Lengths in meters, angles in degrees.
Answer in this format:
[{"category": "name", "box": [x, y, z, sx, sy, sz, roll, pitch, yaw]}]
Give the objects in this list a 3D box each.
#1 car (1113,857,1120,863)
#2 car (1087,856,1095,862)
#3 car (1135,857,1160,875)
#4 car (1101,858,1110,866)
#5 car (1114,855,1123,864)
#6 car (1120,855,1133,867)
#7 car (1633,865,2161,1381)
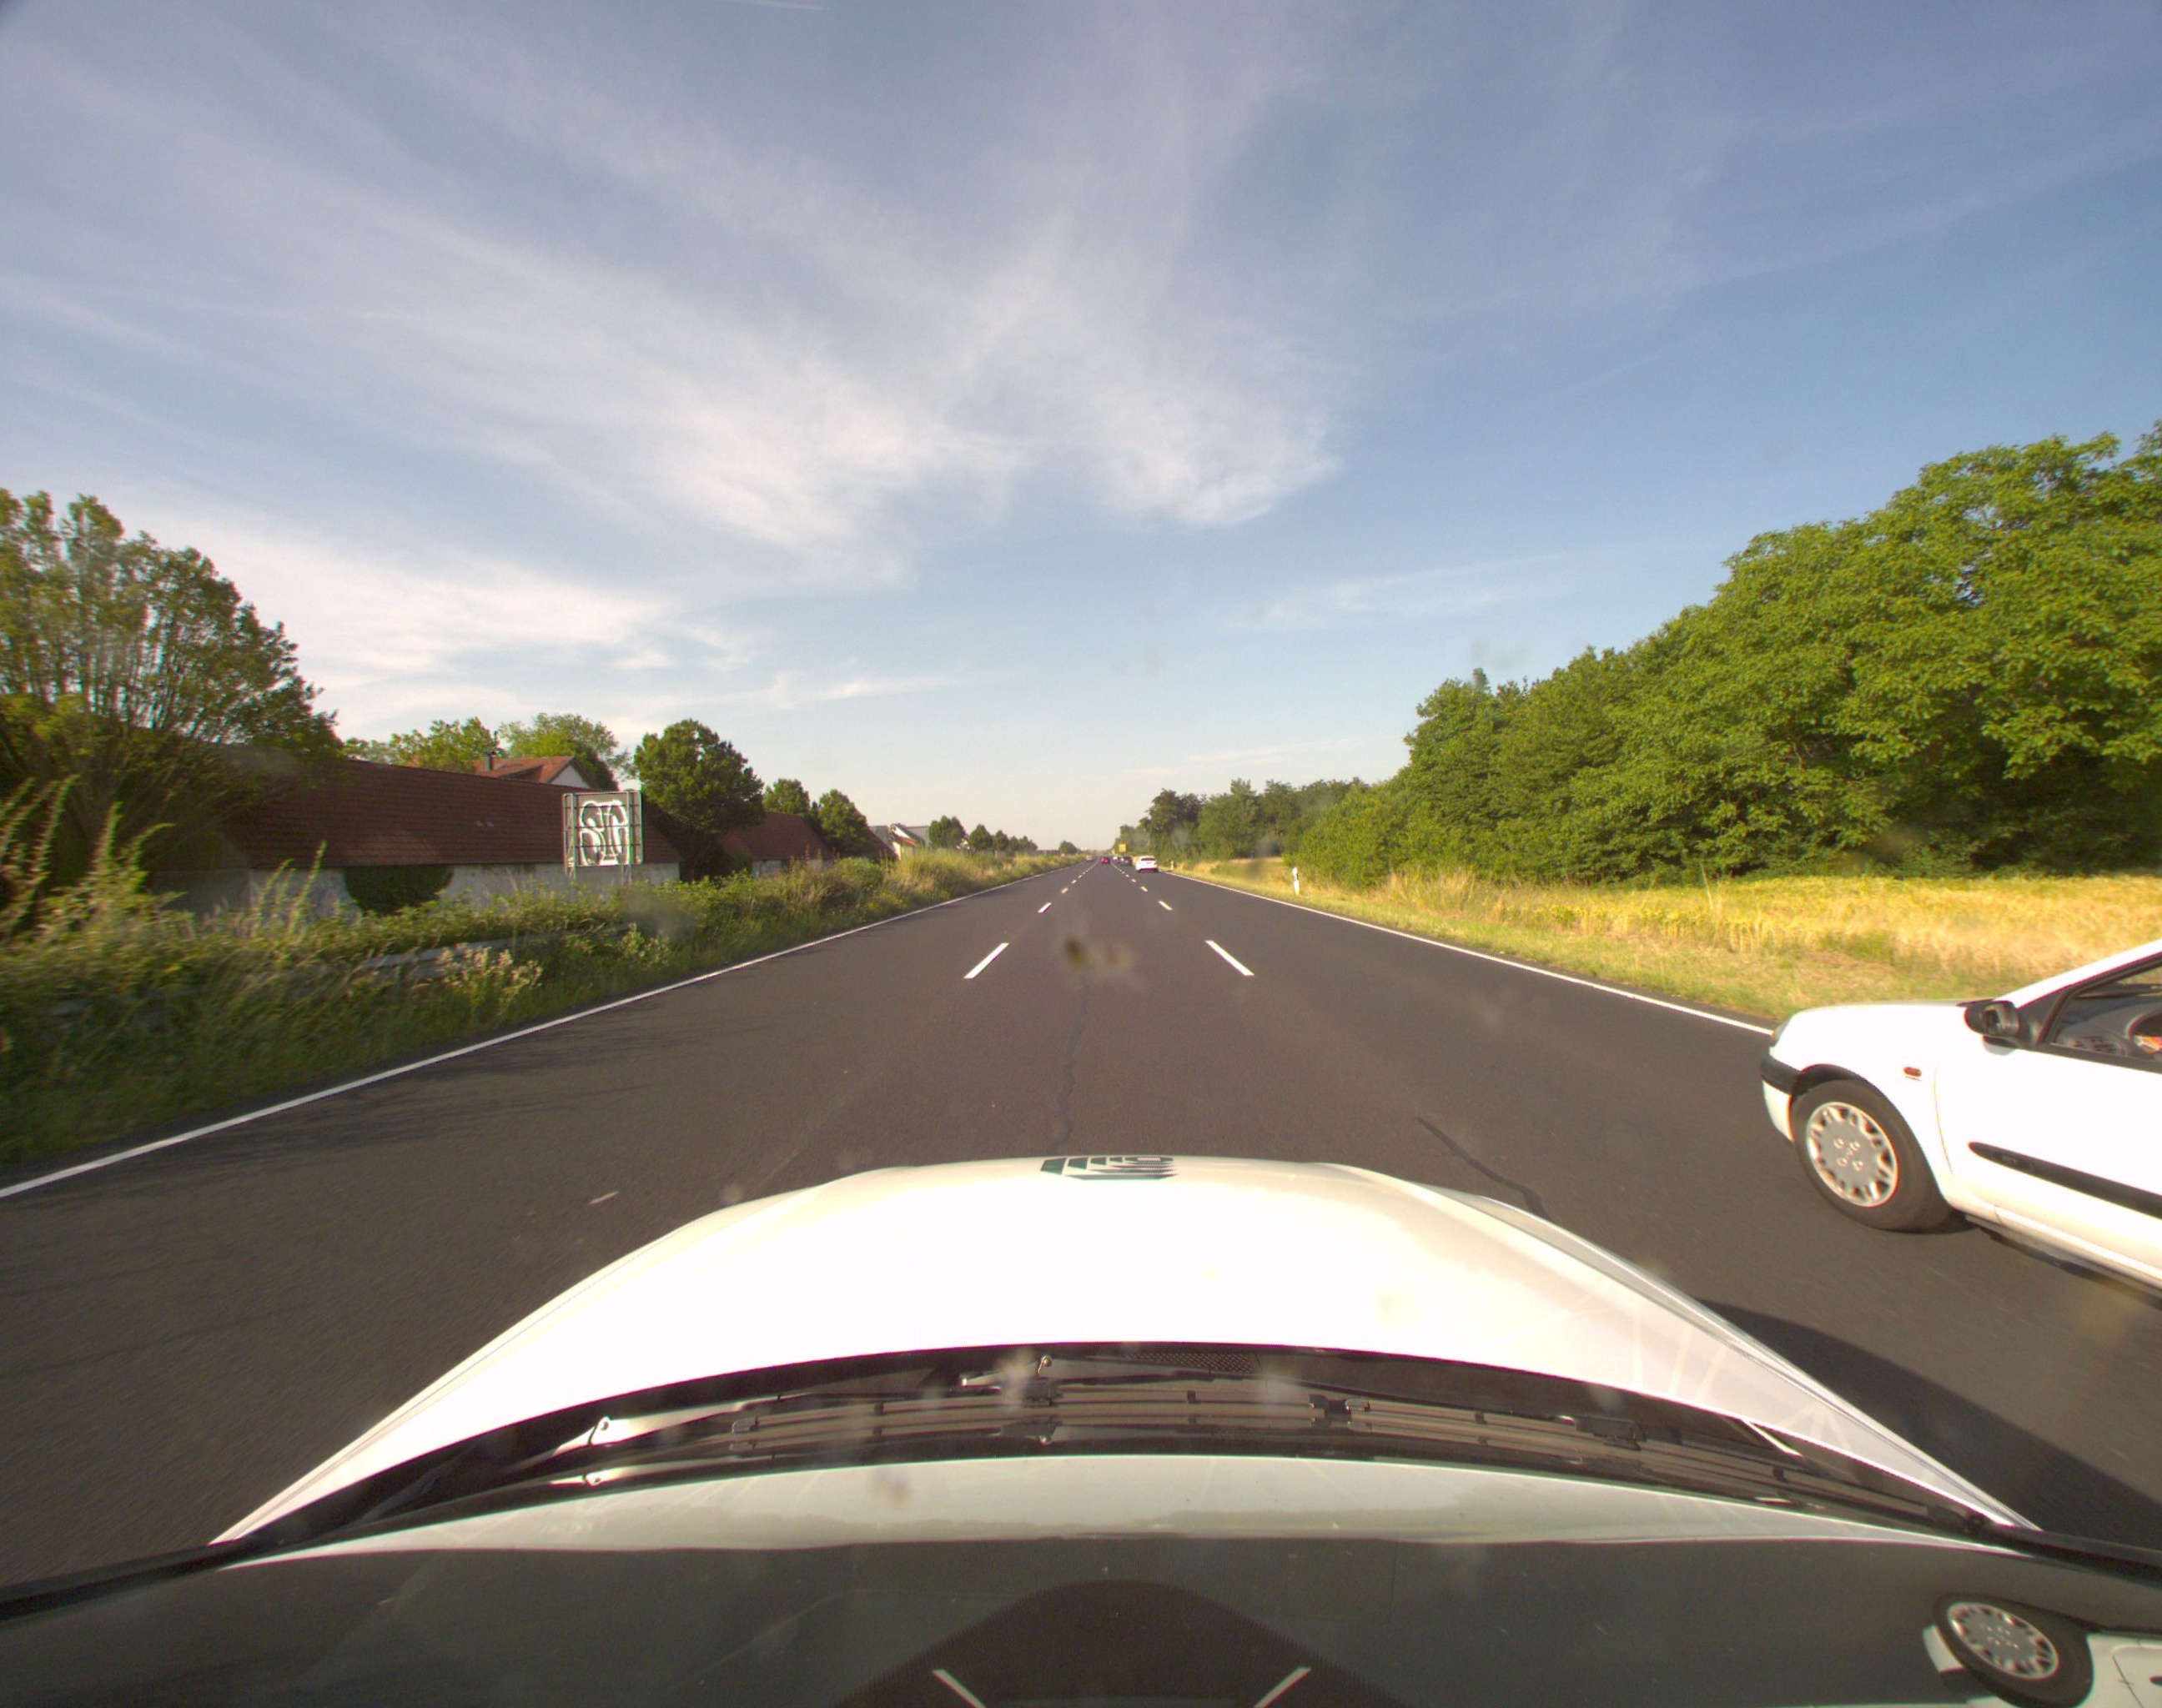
[{"category": "car", "box": [10.422, 1.882, 238.354, 1.840, 1.750, 4.002, -1, -1, 2]}, {"category": "car", "box": [2.665, 1.313, 218.894, 1.751, 1.618, 4.003, -1, -1, 3]}, {"category": "car", "box": [5.789, 1.040, 71.604, 1.986, 1.516, 4.001, -1, -1, 1]}, {"category": "car", "box": [4.700, 1.578, 157.169, 1.806, 1.436, 3.858, -1, -1, 1]}, {"category": "car", "box": [7.745, 1.155, 169.787, 1.827, 1.717, 3.863, -1, -1, 2]}, {"category": "car", "box": [7.146, 1.094, 128.152, 1.821, 1.728, 4.000, -1, -1, 1]}, {"category": "car", "box": [3.726, 0.734, 2.374, 1.612, 1.387, 3.952, 0, -1, 1]}]
